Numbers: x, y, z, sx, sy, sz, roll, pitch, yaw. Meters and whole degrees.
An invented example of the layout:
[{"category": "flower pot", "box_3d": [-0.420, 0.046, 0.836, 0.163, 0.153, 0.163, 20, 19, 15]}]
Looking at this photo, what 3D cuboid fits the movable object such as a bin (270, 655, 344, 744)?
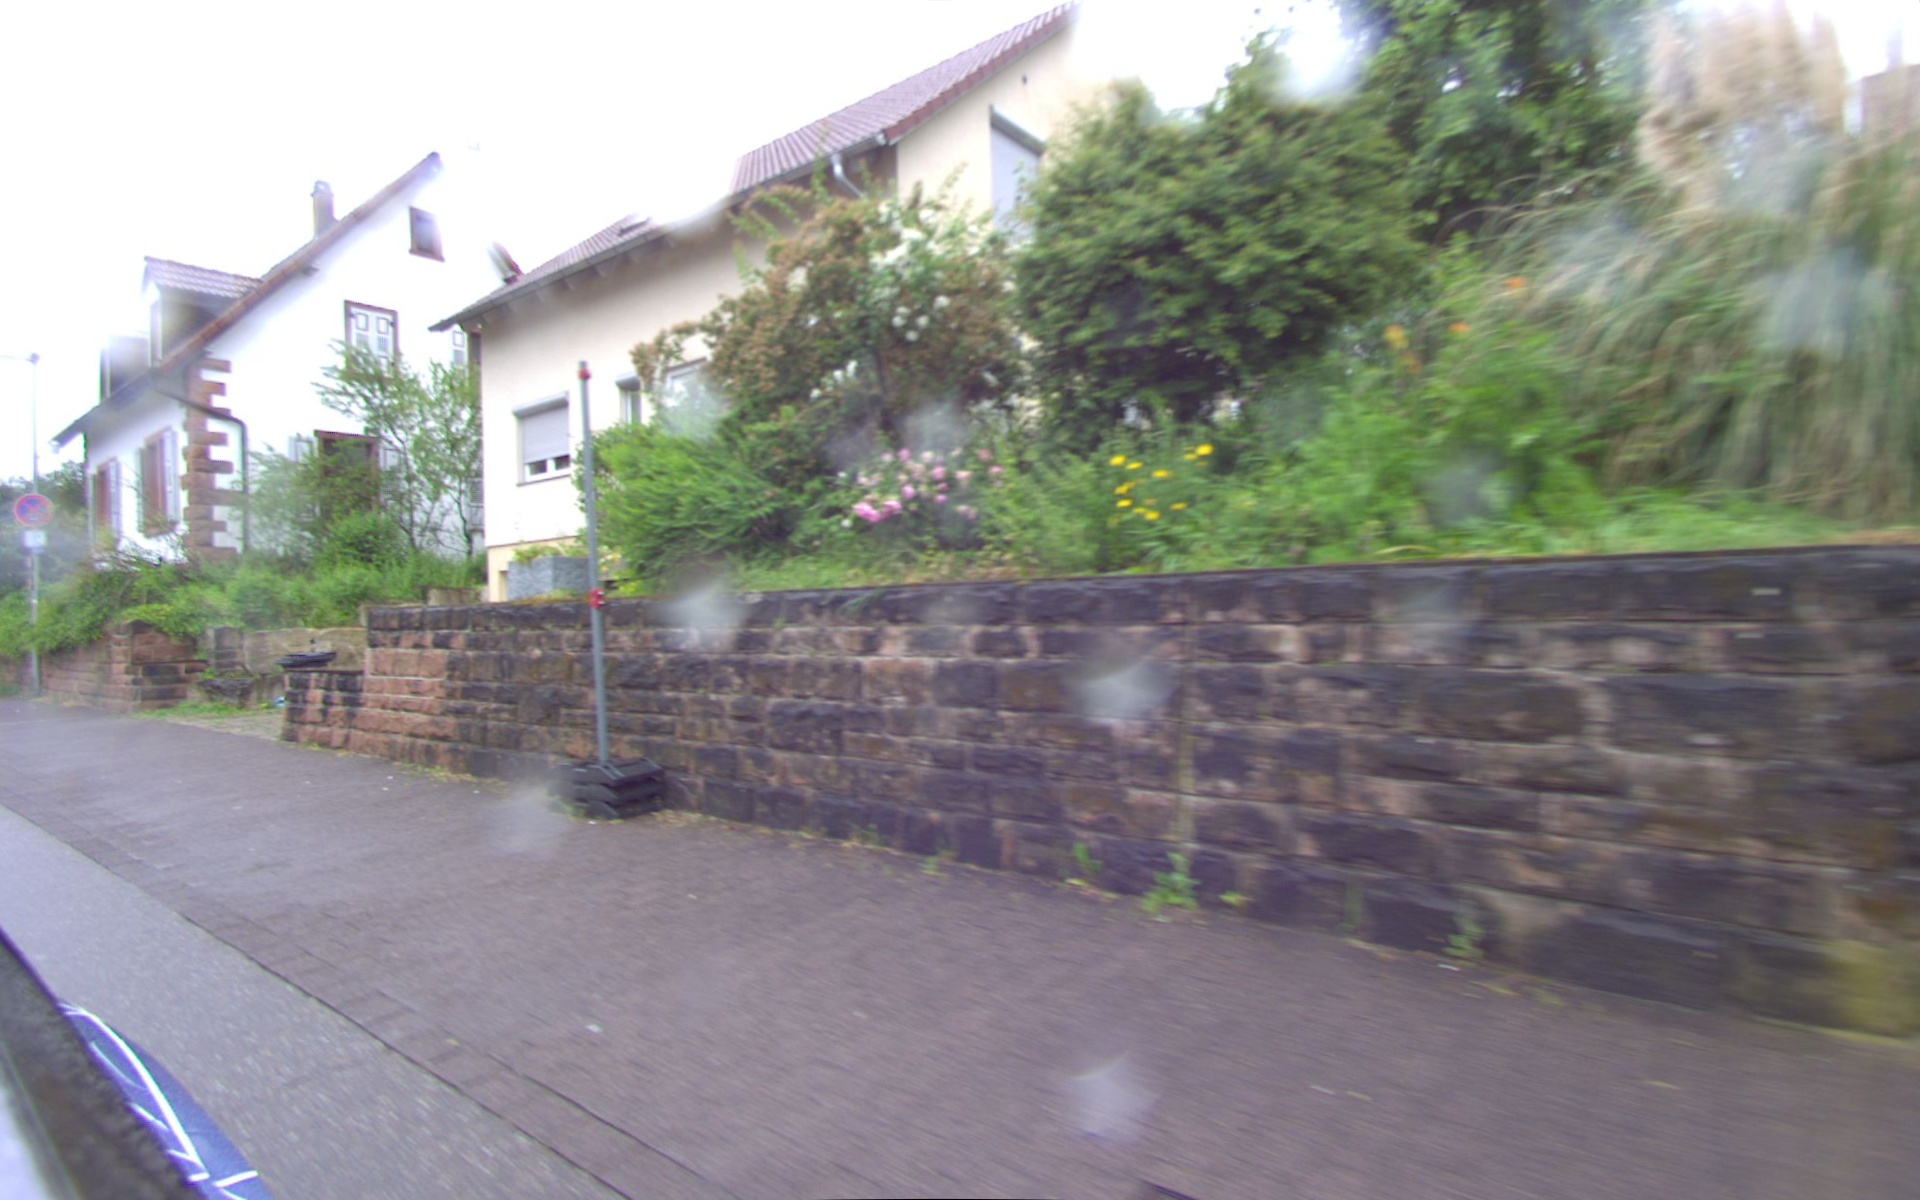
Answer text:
[{"category": "movable object such as a bin", "box_3d": [-7.508, 1.125, 11.632, 0.543, 0.937, 0.533, -1, 1, 36]}]
